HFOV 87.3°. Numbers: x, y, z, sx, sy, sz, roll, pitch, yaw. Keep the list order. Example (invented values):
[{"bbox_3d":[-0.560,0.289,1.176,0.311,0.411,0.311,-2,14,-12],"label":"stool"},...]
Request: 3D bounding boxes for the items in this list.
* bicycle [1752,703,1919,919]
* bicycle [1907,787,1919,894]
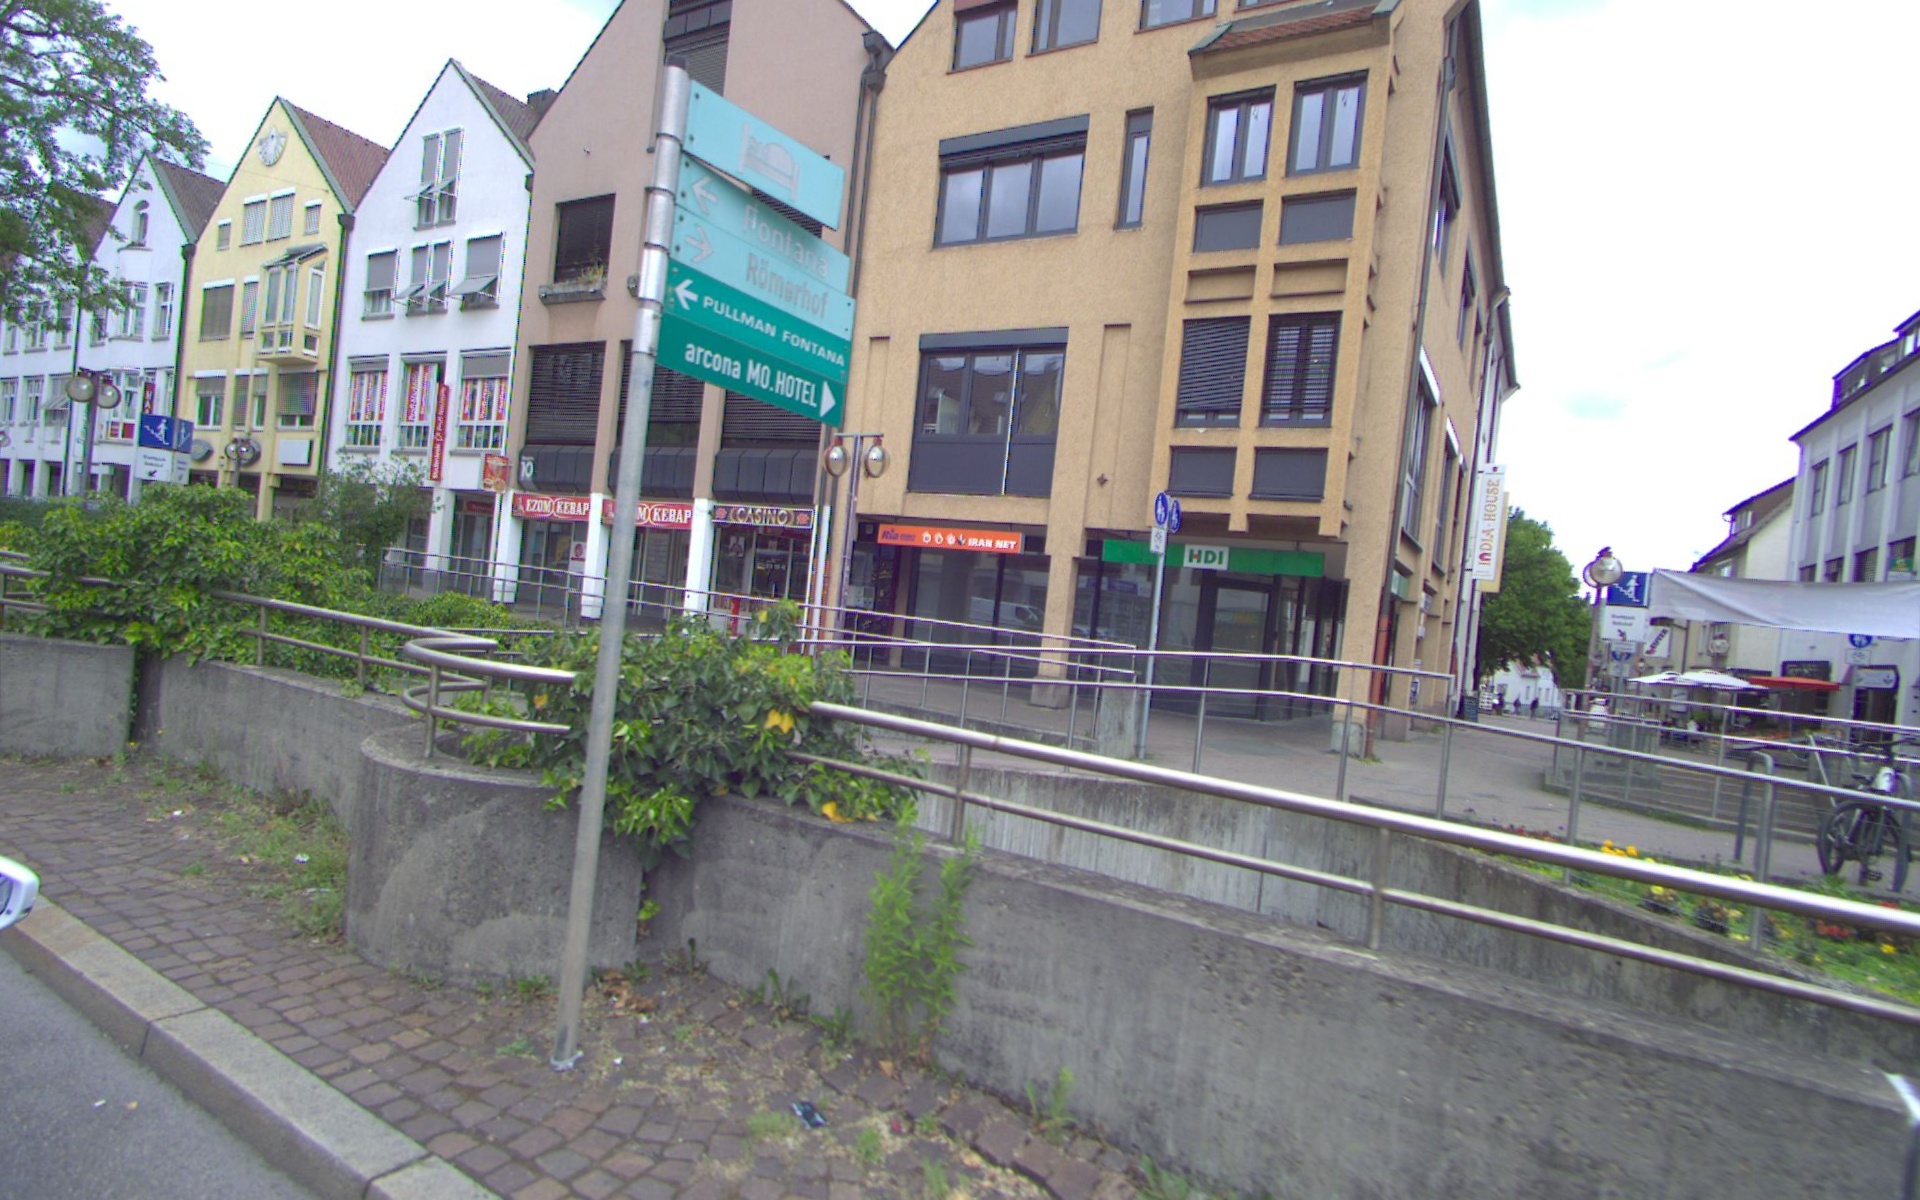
[{"bbox_3d":[6.911,1.547,7.729,0.829,1.343,1.820,7,0,27],"label":"bicycle"},{"bbox_3d":[7.608,1.662,7.194,0.658,1.274,1.678,7,0,27],"label":"bicycle"}]
